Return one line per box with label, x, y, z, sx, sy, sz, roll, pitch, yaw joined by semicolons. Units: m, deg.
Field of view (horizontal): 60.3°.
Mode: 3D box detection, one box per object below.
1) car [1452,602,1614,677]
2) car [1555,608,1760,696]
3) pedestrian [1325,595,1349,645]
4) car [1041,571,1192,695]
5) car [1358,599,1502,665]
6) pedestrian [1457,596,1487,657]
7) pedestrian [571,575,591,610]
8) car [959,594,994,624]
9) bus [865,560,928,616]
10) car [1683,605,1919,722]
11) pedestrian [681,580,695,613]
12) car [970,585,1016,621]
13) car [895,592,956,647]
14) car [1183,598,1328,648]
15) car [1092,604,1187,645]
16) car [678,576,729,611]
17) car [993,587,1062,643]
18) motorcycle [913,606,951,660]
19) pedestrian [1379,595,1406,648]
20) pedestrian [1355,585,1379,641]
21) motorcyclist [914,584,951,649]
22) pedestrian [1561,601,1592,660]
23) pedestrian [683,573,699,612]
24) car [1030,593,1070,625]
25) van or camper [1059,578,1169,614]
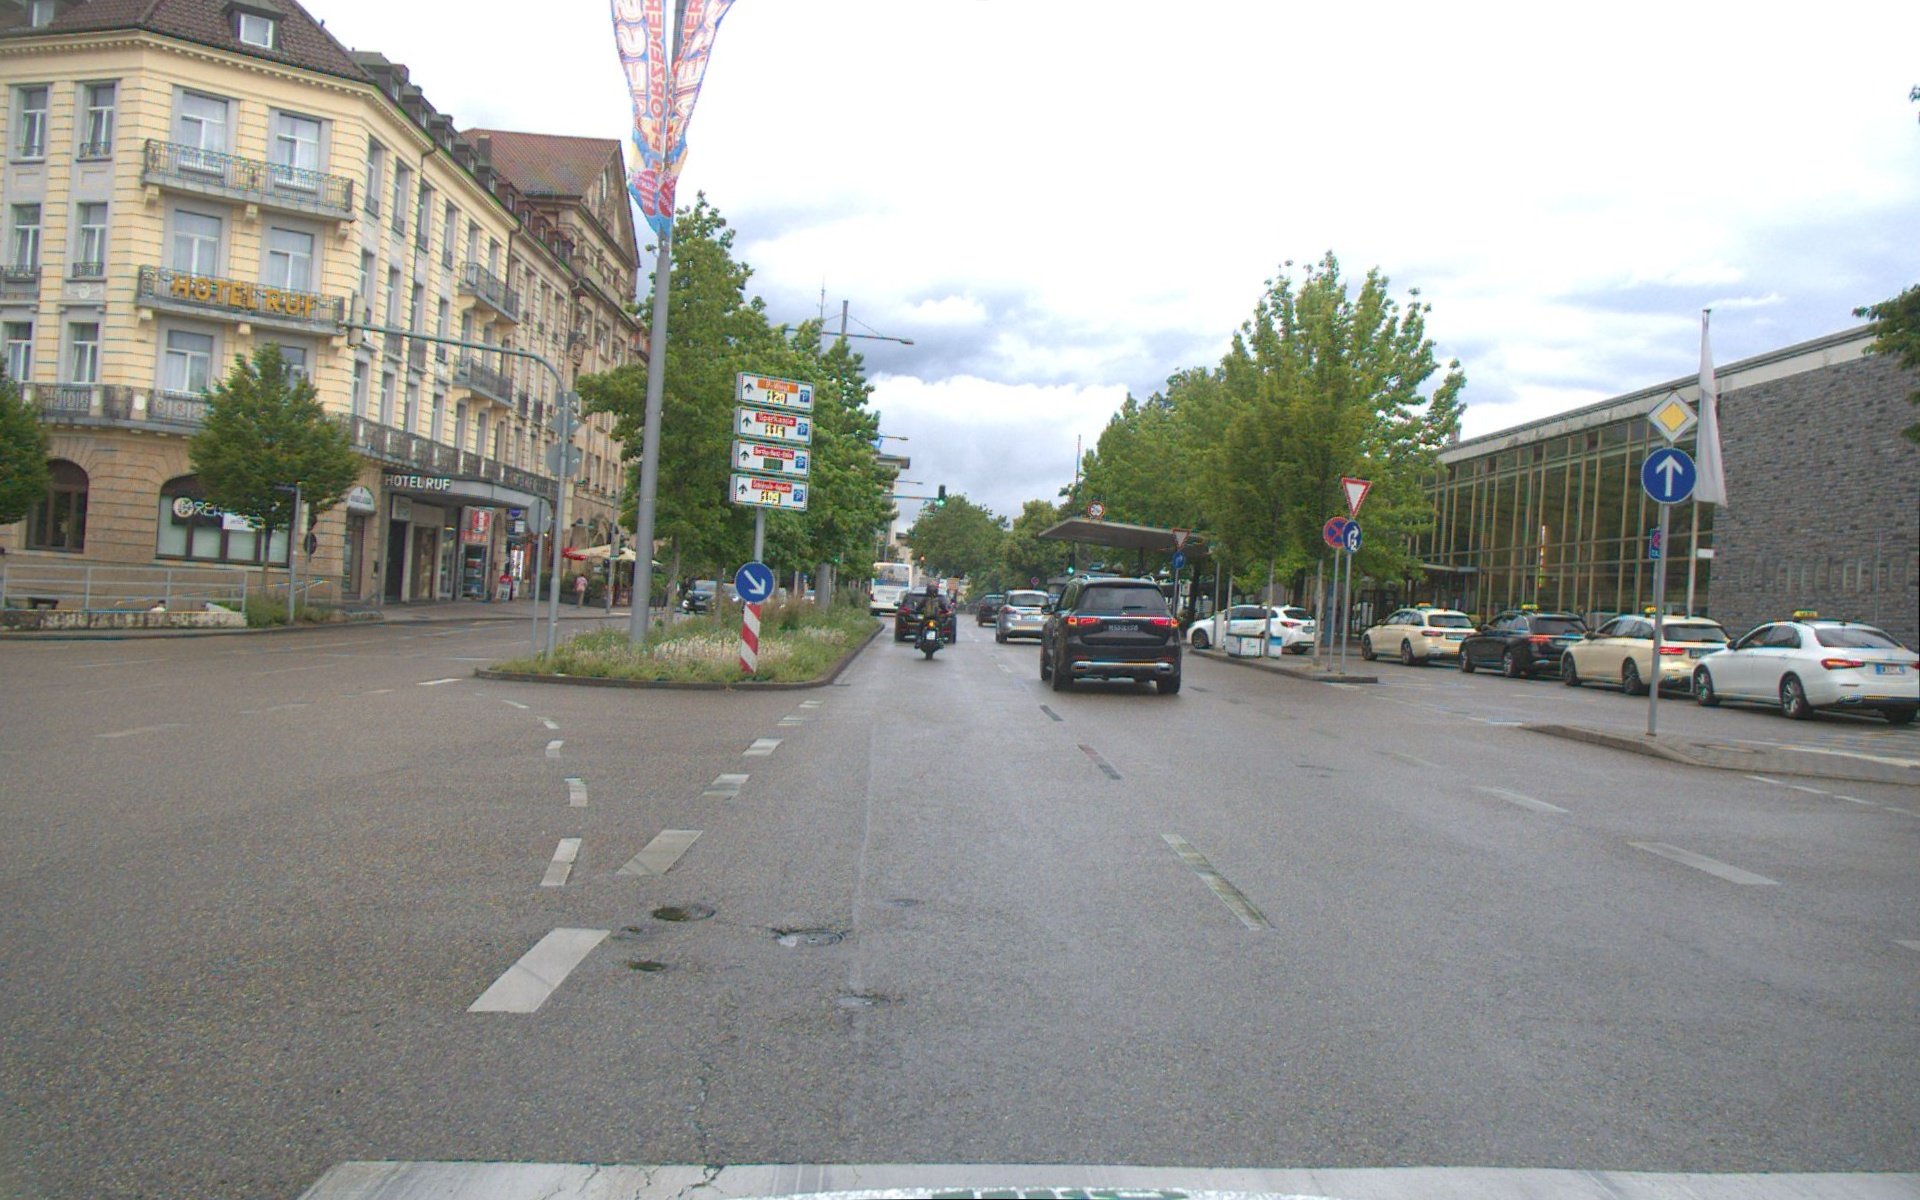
car;13.053;0.851;37.982;1.875;1.551;4.740;1;0;-3
car;13.244;0.936;31.736;1.809;1.477;4.665;1;0;-2
pedestrian;15.620;0.824;68.500;0.754;2.049;0.828;1;0;-3
car;2.475;0.480;27.284;1.953;1.837;4.689;1;0;-1
car;12.552;0.811;44.496;1.956;1.628;4.814;1;0;-8
pedestrian;14.825;0.769;47.911;0.553;1.739;0.715;1;0;-6
pedestrian;-16.640;-0.338;72.569;0.656;1.537;0.512;1;0;-39
car;0.969;0.520;99.151;1.775;1.671;3.900;2;0;-4
bus;-3.958;-0.740;106.724;3.684;3.265;15.522;1;0;-1
car;13.370;0.925;26.081;1.739;1.617;4.614;1;0;-2
pedestrian;-14.648;-0.178;89.141;0.661;1.731;0.633;1;0;-1
car;1.505;0.132;76.704;1.775;1.609;3.900;2;0;-4
car;-0.980;0.535;47.711;1.673;1.473;3.999;1;0;-1
car;9.109;0.695;51.222;1.764;1.409;4.303;1;0;-41
car;8.949;1.228;82.415;4.273;1.890;1.988;2;0;-21
car;-11.909;-0.294;77.127;1.735;1.557;4.078;1;0;0
car;2.009;0.442;50.205;1.813;1.594;3.999;1;0;-1
motorcycle;-0.594;0.689;35.374;0.750;1.095;2.175;2;0;-1
pedestrian;16.876;0.825;64.588;0.754;2.049;0.828;1;0;-3
pedestrian;18.181;0.585;73.903;0.825;2.453;0.862;1;0;1
motorcyclist;-0.585;0.340;35.478;0.749;1.355;0.866;2;0;-1
pedestrian;18.031;0.886;48.353;0.553;1.675;0.715;1;0;-6
pedestrian;-14.498;-0.404;89.119;0.742;2.049;0.832;2;0;-7
car;4.628;0.465;85.480;1.779;1.557;3.999;1;0;-1
van or camper;9.619;-0.238;103.100;6.675;2.049;2.364;1;-1;-27
